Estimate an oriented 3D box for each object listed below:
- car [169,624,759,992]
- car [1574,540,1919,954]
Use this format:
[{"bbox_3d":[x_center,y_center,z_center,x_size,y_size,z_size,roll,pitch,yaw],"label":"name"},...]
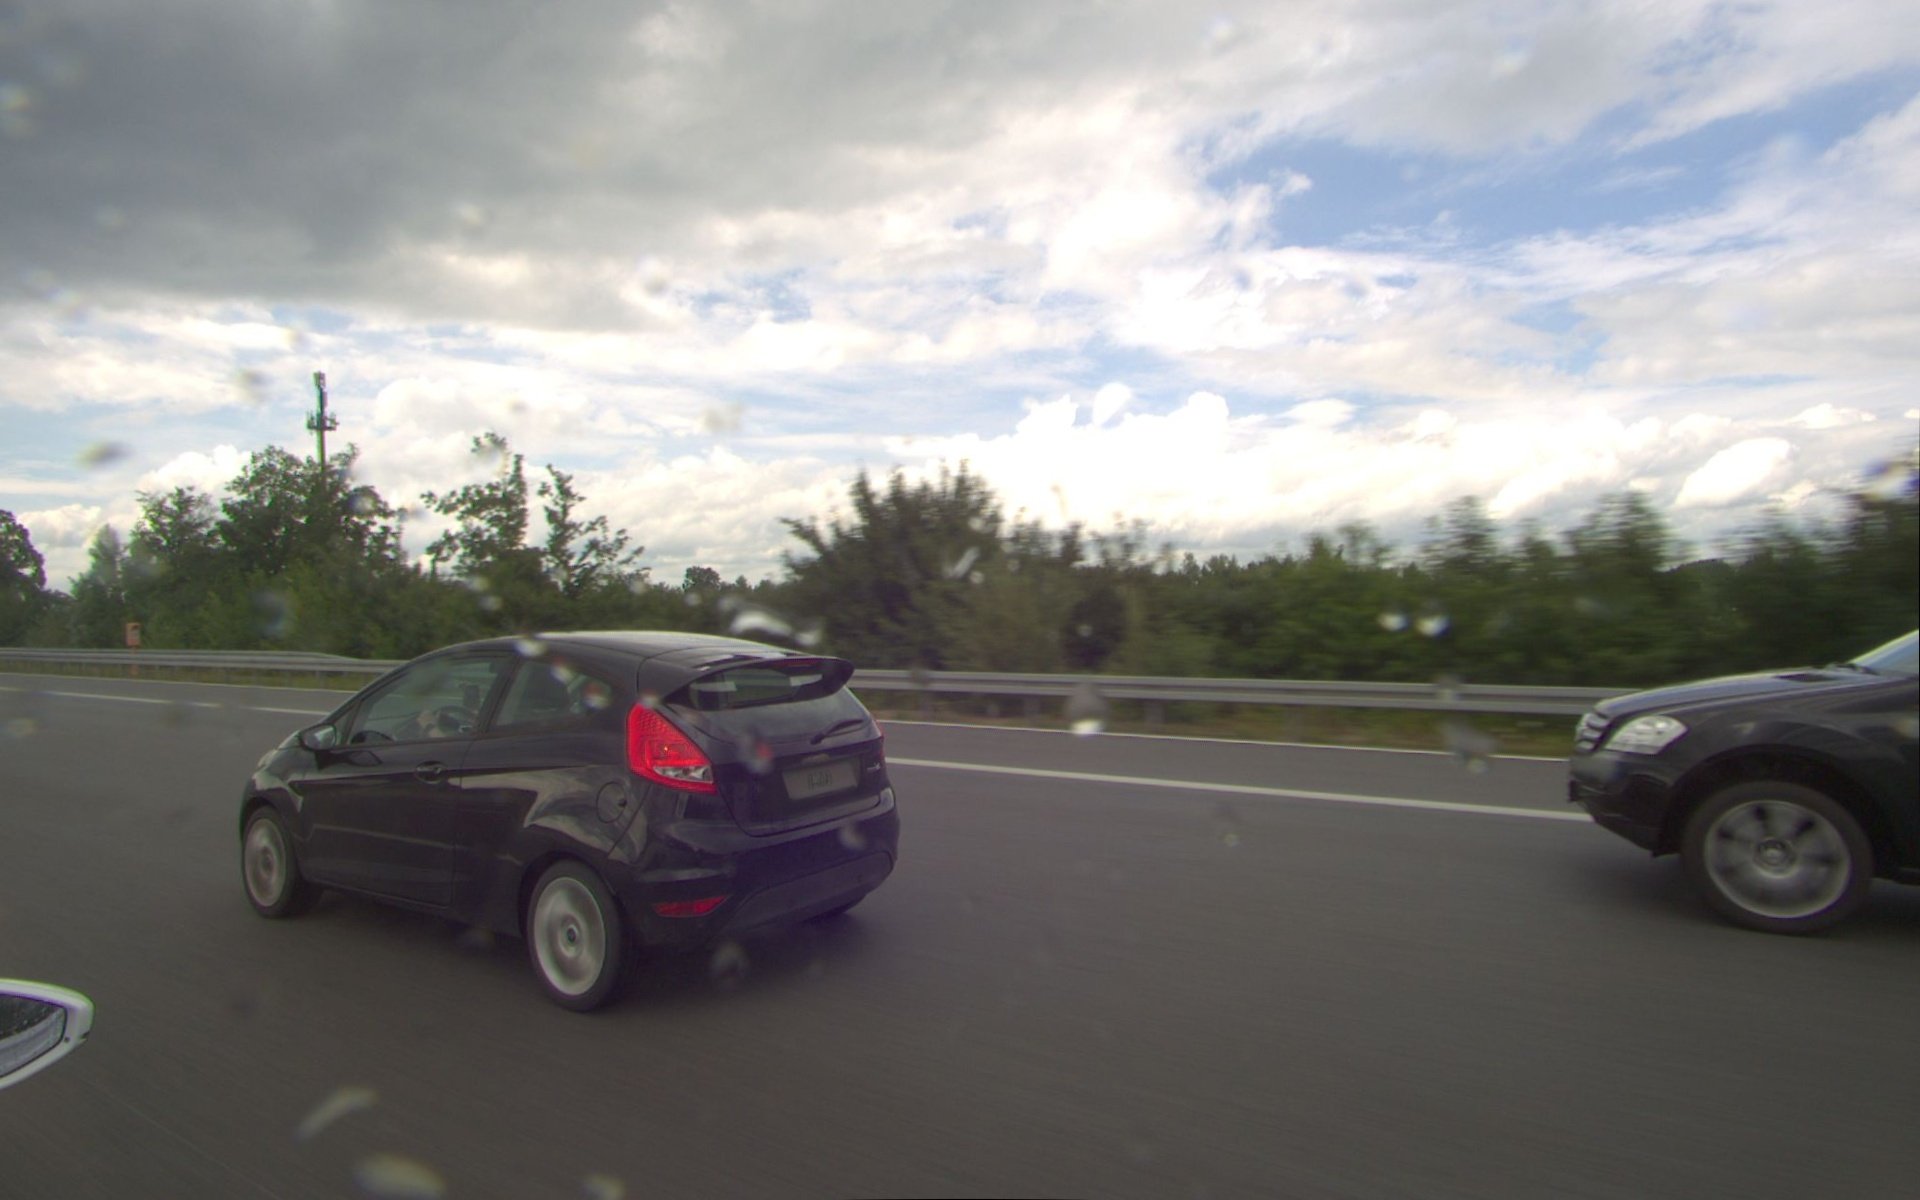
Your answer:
[{"bbox_3d":[-2.743,0.865,5.421,3.118,1.460,1.444,-1,-1,32],"label":"car"},{"bbox_3d":[5.502,0.643,4.666,4.436,1.799,1.917,-1,-2,31],"label":"car"}]
